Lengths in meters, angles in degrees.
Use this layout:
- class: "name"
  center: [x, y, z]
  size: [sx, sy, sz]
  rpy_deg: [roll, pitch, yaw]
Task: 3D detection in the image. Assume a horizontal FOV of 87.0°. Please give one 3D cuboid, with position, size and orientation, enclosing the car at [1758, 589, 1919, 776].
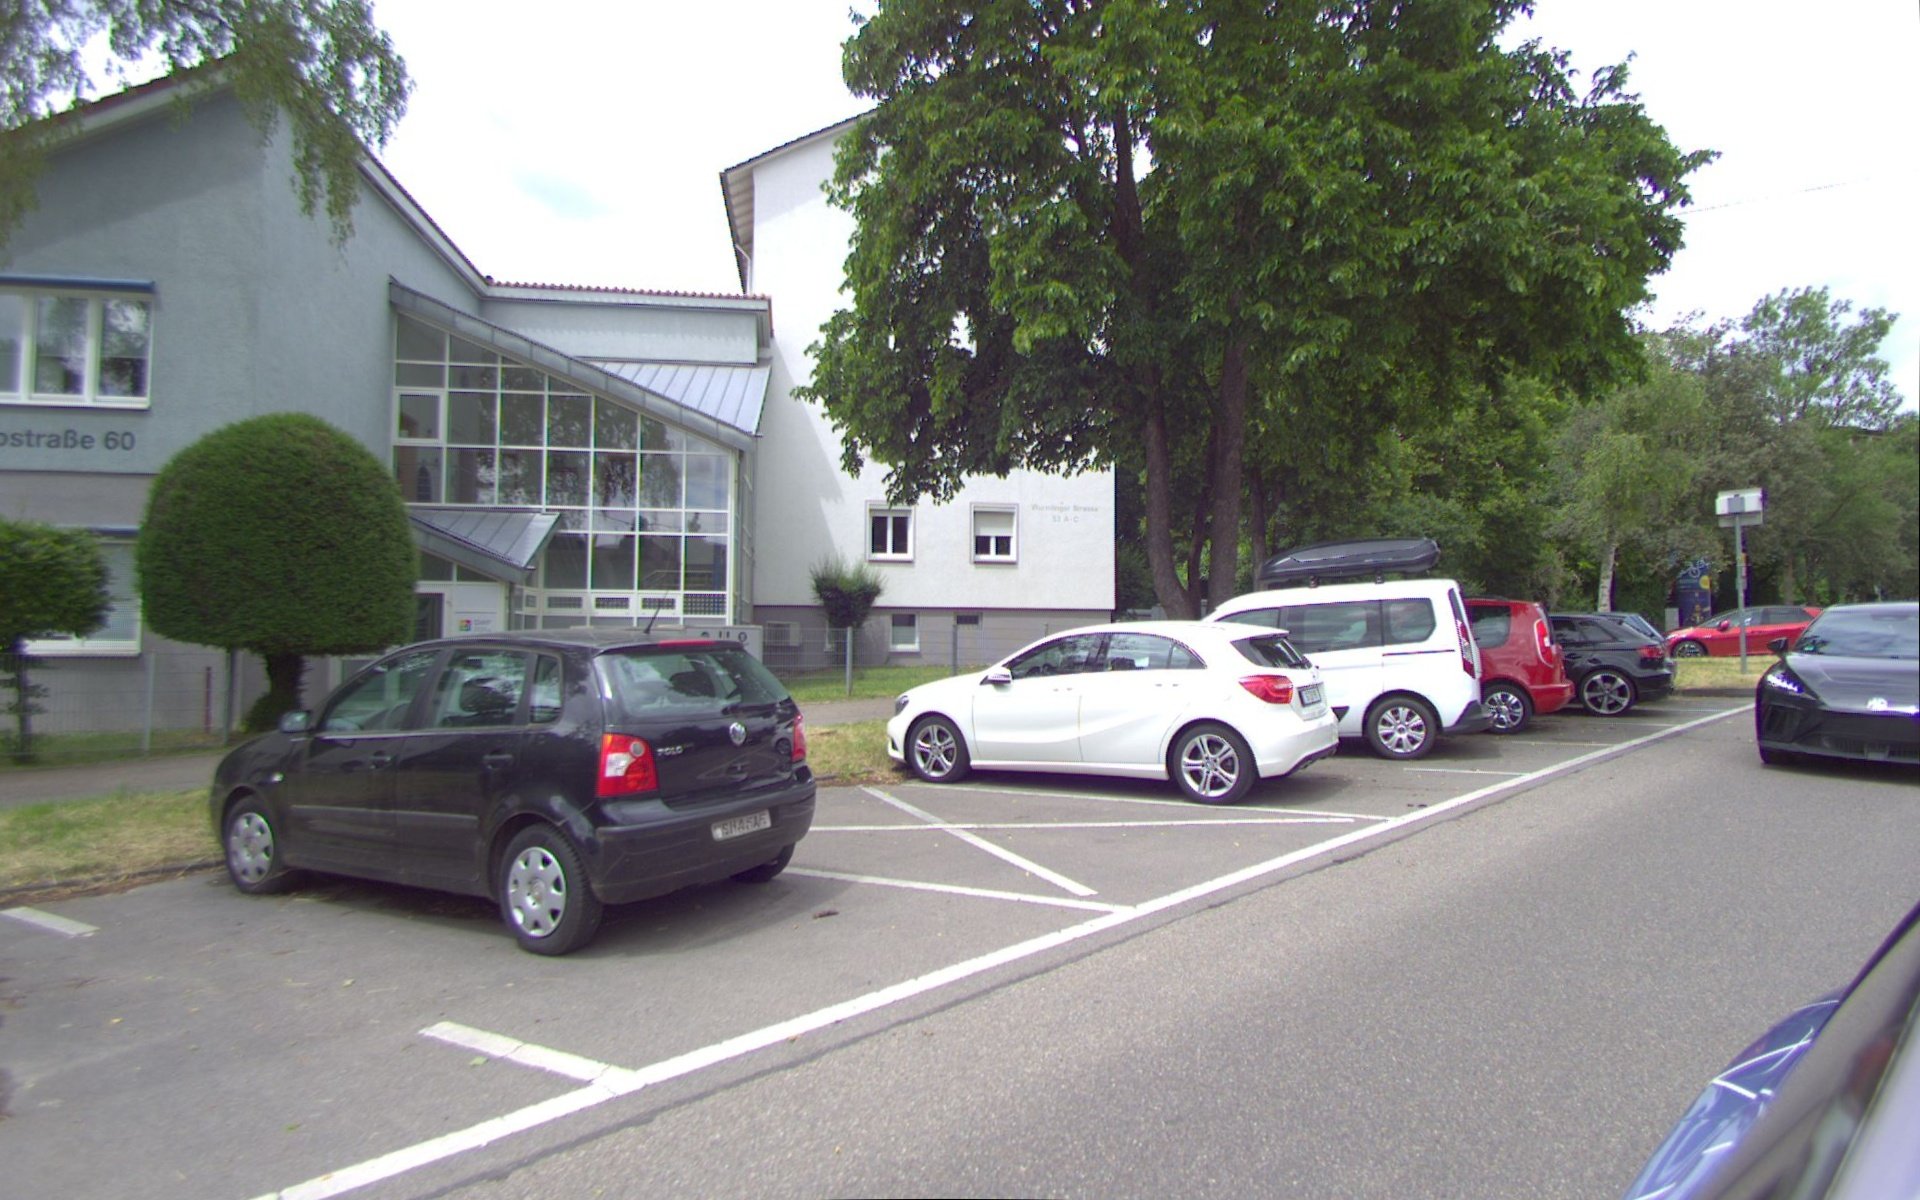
- class: "car"
  center: [9.061, 0.653, 9.549]
  size: [3.728, 1.511, 1.811]
  rpy_deg: [-1, 0, -42]

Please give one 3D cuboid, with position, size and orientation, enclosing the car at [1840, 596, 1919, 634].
- class: "car"
  center: [42.302, 0.669, 45.686]
  size: [3.841, 1.664, 1.630]
  rpy_deg: [-3, -2, 42]

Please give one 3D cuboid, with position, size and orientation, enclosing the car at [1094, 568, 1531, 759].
- class: "car"
  center: [3.775, 0.672, 11.187]
  size: [4.176, 1.781, 1.843]
  rpy_deg: [-2, -2, 25]

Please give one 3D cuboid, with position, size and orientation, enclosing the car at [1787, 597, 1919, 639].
- class: "car"
  center: [35.659, 0.731, 40.535]
  size: [3.841, 1.582, 1.630]
  rpy_deg: [-3, -2, 42]

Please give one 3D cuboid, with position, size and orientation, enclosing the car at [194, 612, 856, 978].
- class: "car"
  center: [-2.515, 0.870, 5.761]
  size: [3.482, 1.483, 1.698]
  rpy_deg: [-2, -2, 29]

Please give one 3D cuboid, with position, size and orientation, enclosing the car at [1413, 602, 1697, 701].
- class: "car"
  center: [9.702, 0.824, 16.673]
  size: [3.831, 1.453, 1.634]
  rpy_deg: [-3, -2, 35]

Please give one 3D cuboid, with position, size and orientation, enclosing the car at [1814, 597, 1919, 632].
- class: "car"
  center: [39.478, 0.631, 43.774]
  size: [3.841, 1.404, 1.630]
  rpy_deg: [-3, -2, 42]

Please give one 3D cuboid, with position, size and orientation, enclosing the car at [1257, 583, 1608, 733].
- class: "car"
  center: [6.062, 0.712, 13.116]
  size: [3.831, 1.664, 1.830]
  rpy_deg: [-3, -2, 35]

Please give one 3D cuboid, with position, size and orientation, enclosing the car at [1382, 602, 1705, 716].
- class: "car"
  center: [8.360, 0.820, 14.689]
  size: [3.831, 1.453, 1.634]
  rpy_deg: [-3, -2, 35]

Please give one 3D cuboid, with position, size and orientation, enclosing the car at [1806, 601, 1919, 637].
- class: "car"
  center: [37.873, 0.804, 42.251]
  size: [3.841, 1.404, 1.630]
  rpy_deg: [-3, -2, 42]

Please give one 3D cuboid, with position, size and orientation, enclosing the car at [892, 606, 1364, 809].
- class: "car"
  center: [1.416, 0.848, 9.141]
  size: [3.831, 1.457, 1.694]
  rpy_deg: [-3, -2, 35]

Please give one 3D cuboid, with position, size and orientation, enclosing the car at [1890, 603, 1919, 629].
- class: "car"
  center: [53.832, 0.841, 55.668]
  size: [3.841, 1.404, 1.630]
  rpy_deg: [-3, -2, 42]

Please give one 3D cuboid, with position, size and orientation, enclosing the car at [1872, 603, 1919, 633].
- class: "car"
  center: [48.287, 0.872, 50.668]
  size: [3.841, 1.404, 1.630]
  rpy_deg: [-3, -2, 42]

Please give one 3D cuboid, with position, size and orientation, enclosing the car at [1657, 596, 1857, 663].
- class: "car"
  center: [20.720, 0.785, 26.521]
  size: [3.823, 1.633, 1.638]
  rpy_deg: [-2, -2, 30]
